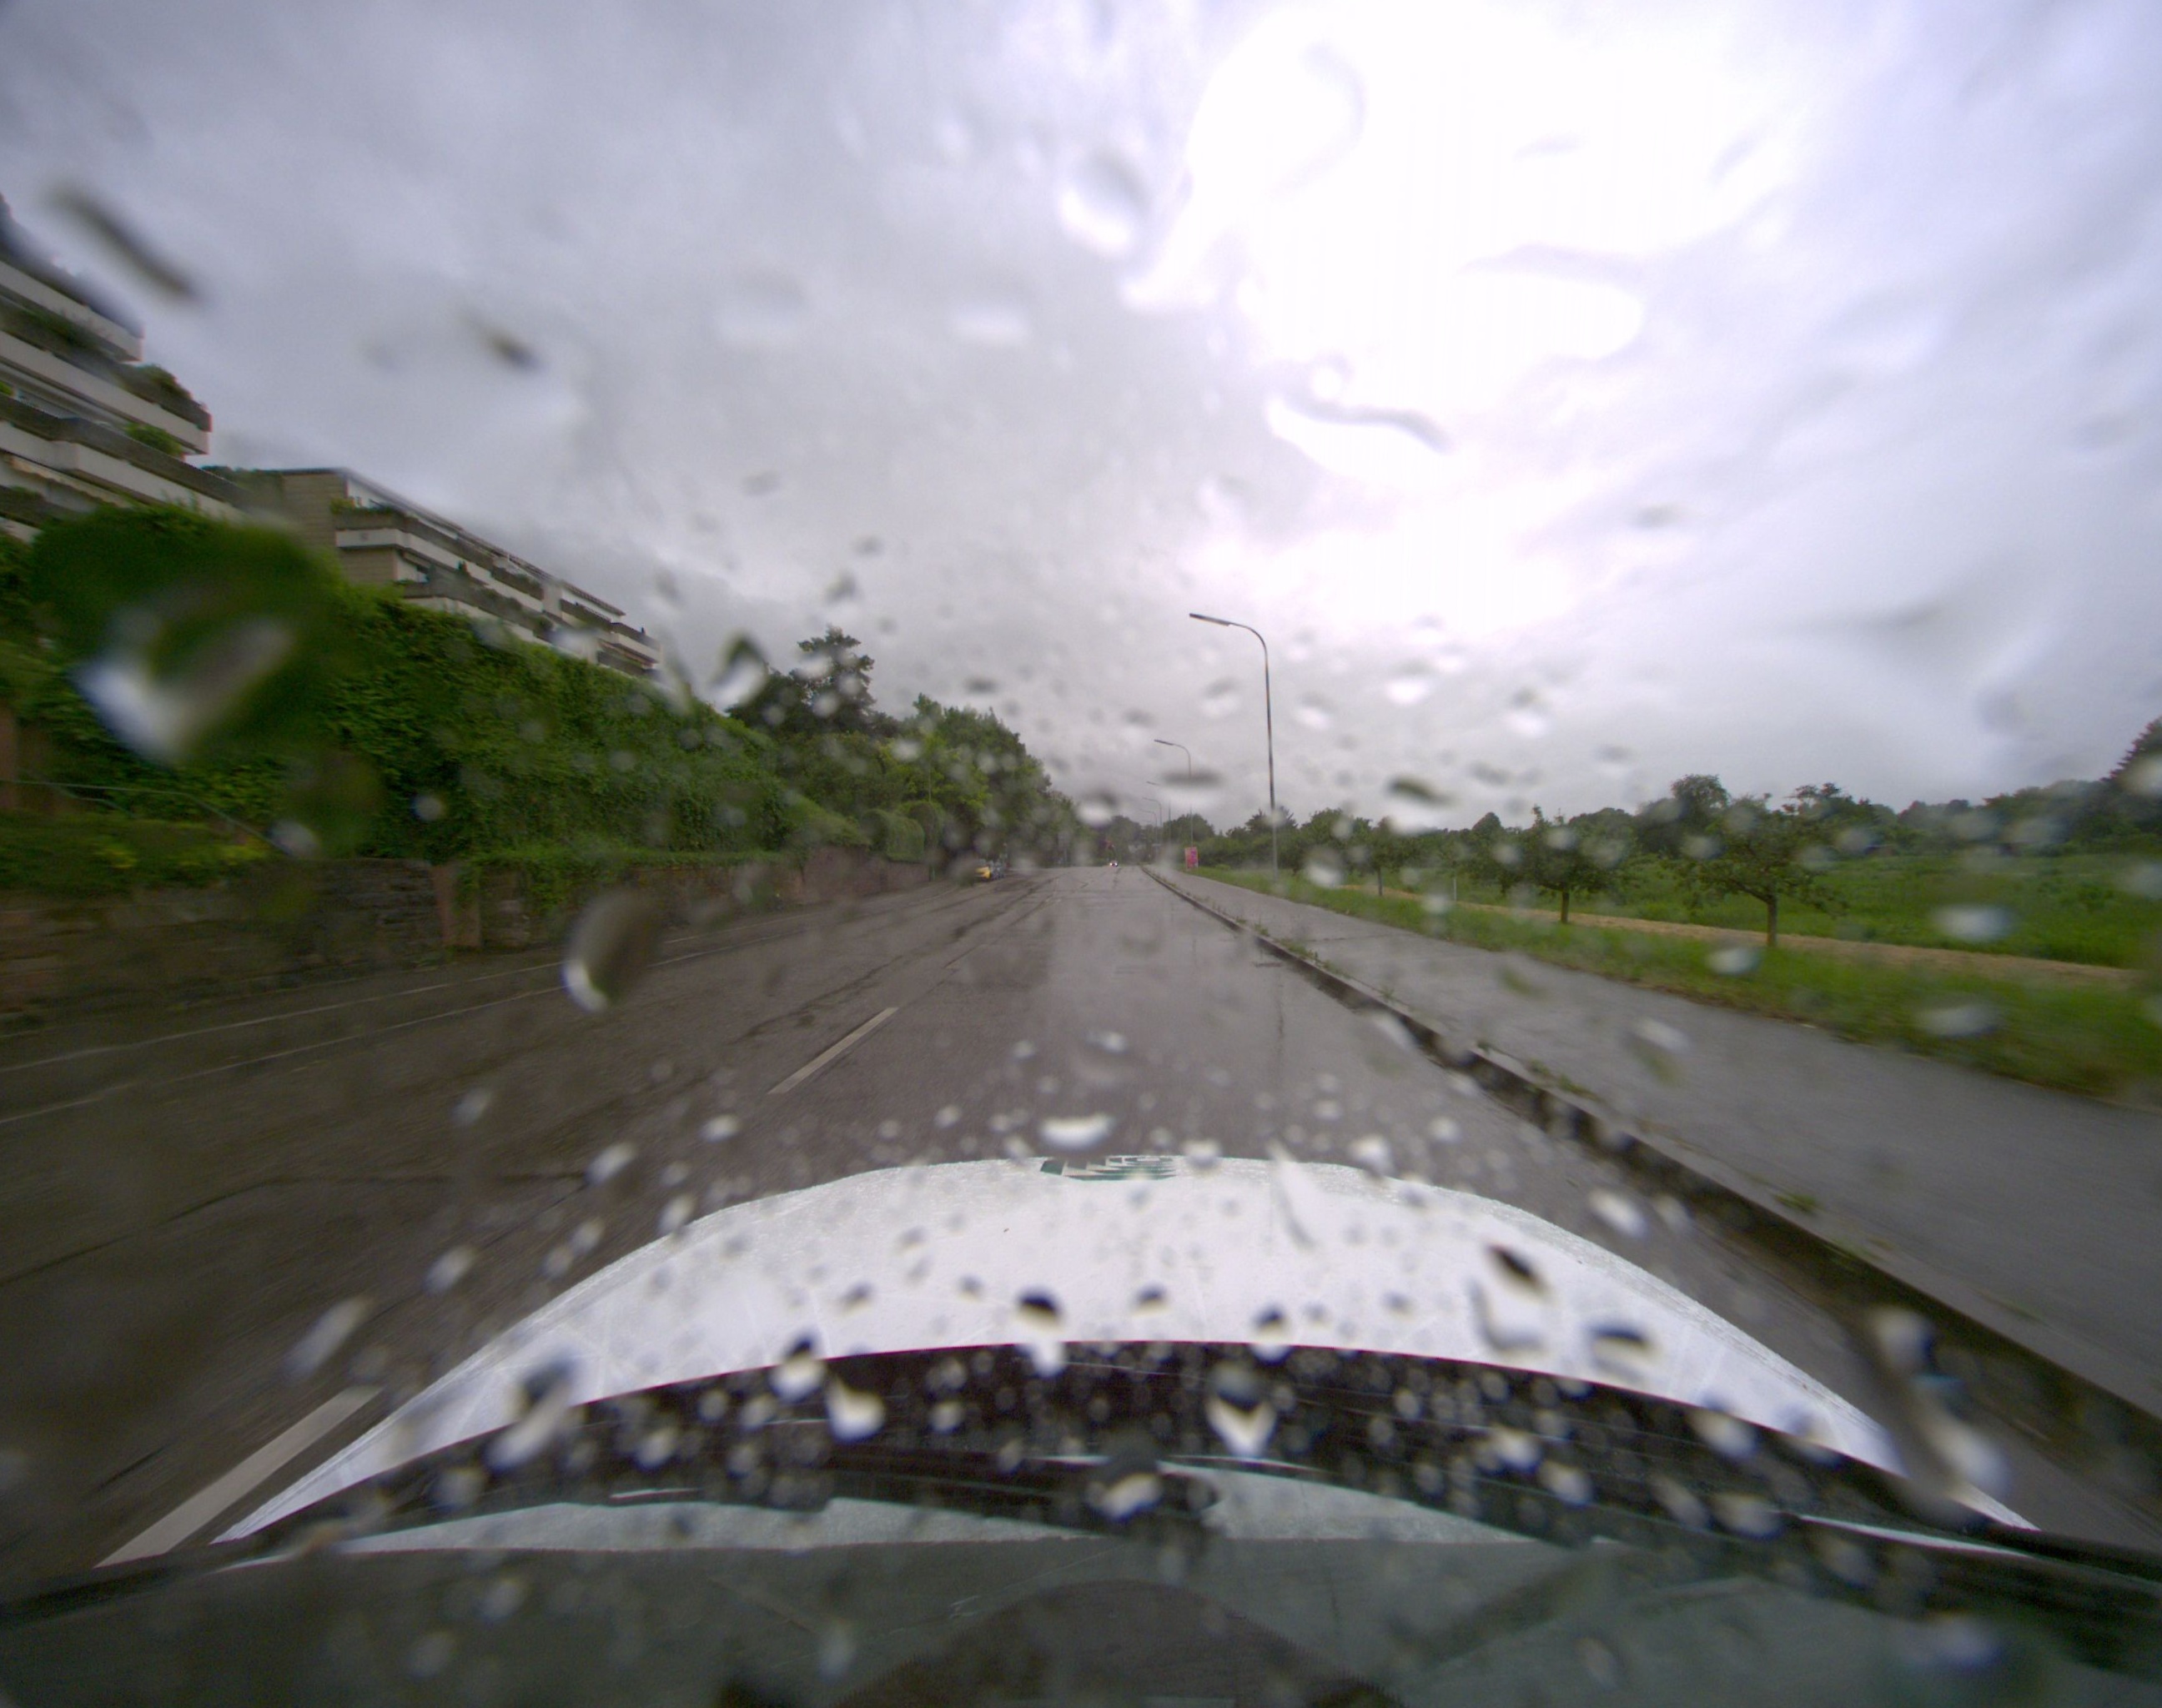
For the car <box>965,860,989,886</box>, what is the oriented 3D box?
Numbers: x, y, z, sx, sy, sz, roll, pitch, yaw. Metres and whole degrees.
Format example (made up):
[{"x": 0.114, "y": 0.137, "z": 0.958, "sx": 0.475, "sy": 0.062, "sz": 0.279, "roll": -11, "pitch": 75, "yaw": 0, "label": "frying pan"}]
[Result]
[{"x": -6.608, "y": 1.208, "z": 52.027, "sx": 1.432, "sy": 1.537, "sz": 2.813, "roll": -2, "pitch": -1, "yaw": -6, "label": "car"}]

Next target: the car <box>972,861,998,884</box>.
[{"x": -6.584, "y": 1.252, "z": 56.271, "sx": 1.430, "sy": 1.419, "sz": 4.100, "roll": -2, "pitch": 0, "yaw": -3, "label": "car"}]

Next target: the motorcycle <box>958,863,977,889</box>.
[{"x": -6.327, "y": 1.204, "z": 45.462, "sx": 0.835, "sy": 1.341, "sz": 2.495, "roll": -2, "pitch": 0, "yaw": -4, "label": "motorcycle"}]

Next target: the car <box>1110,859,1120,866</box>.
[{"x": 8.388, "y": 2.046, "z": 201.869, "sx": 1.782, "sy": 1.762, "sz": 4.013, "roll": -1, "pitch": 0, "yaw": 12, "label": "car"}]
